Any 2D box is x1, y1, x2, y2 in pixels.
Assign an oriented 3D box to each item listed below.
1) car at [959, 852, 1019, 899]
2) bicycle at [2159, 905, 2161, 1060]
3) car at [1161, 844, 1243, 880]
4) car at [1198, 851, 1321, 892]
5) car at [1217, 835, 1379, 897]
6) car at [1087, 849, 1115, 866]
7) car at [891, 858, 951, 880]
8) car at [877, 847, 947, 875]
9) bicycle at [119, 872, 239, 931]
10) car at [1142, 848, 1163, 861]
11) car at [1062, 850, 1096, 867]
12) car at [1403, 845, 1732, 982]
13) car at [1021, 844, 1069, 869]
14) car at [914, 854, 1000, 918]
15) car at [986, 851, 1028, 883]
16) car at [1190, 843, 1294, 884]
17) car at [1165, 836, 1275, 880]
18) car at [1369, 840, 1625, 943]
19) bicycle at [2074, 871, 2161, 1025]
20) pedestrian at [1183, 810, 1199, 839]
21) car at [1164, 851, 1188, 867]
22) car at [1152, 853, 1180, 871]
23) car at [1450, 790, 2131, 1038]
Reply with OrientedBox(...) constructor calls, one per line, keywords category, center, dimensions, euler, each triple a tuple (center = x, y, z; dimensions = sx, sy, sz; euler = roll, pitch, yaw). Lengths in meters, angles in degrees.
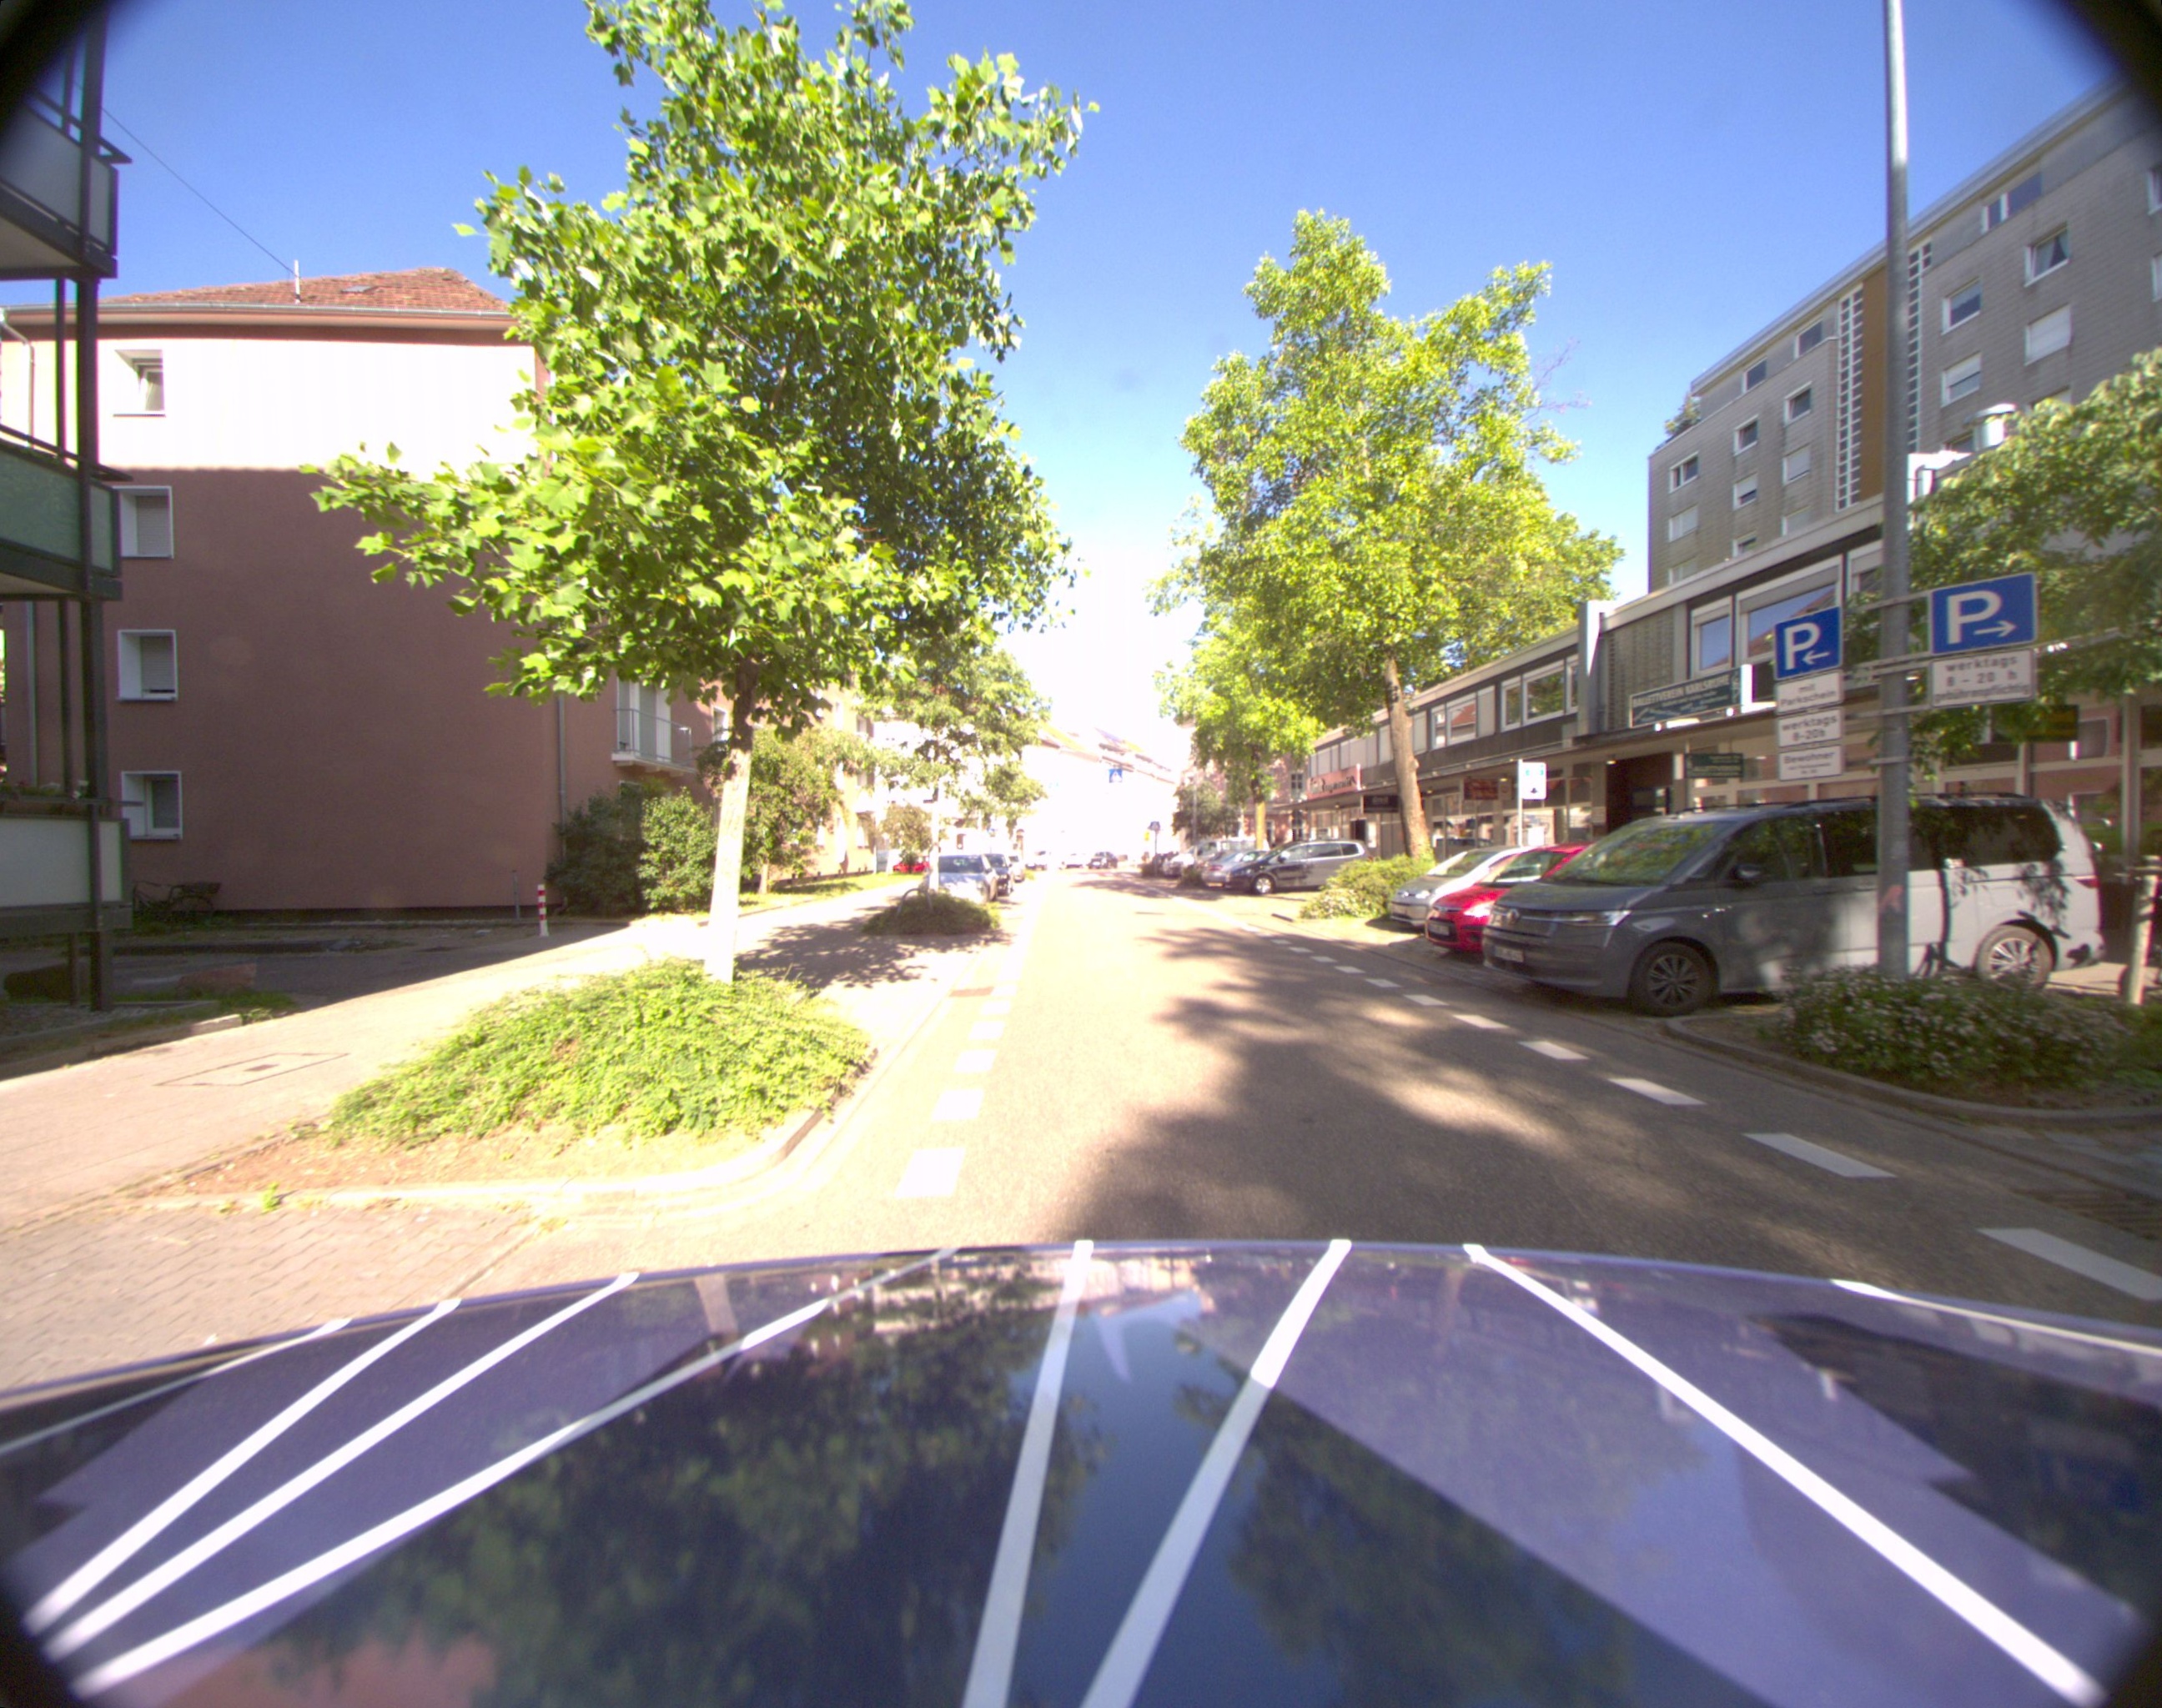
OrientedBox(category="car", center=(-3.150, 0.683, 26.748), dimensions=(1.662, 1.473, 4.310), euler=(-1, 1, -1))
OrientedBox(category="bicycle", center=(8.175, 0.848, 4.887), dimensions=(1.868, 1.033, 0.614), euler=(-1, 1, -7))
OrientedBox(category="car", center=(6.331, 0.386, 40.097), dimensions=(3.998, 1.781, 1.757), euler=(-1, 1, -3))
OrientedBox(category="car", center=(6.442, 0.611, 27.686), dimensions=(3.998, 1.390, 1.759), euler=(-1, 1, -4))
OrientedBox(category="car", center=(7.117, 0.366, 25.184), dimensions=(4.782, 1.767, 1.873), euler=(-2, 1, -4))
OrientedBox(category="car", center=(1.768, 0.305, 66.074), dimensions=(1.609, 1.445, 3.299), euler=(1, 1, 18))
OrientedBox(category="car", center=(-10.709, 0.996, 50.945), dimensions=(3.648, 1.394, 1.567), euler=(-1, 1, -2))
OrientedBox(category="car", center=(-12.441, 0.494, 56.220), dimensions=(4.757, 2.002, 1.999), euler=(-1, 1, -6))
OrientedBox(category="bicycle", center=(-17.566, 0.916, 14.822), dimensions=(1.540, 1.092, 0.594), euler=(0, 1, -3))
OrientedBox(category="car", center=(8.471, 0.019, 89.498), dimensions=(1.632, 1.413, 3.299), euler=(0, 1, 21))
OrientedBox(category="car", center=(-0.152, 0.365, 71.105), dimensions=(2.131, 1.487, 3.950), euler=(-1, 1, 17))
OrientedBox(category="car", center=(6.573, 0.734, 10.447), dimensions=(3.569, 1.545, 1.660), euler=(-2, 1, -9))
OrientedBox(category="car", center=(-2.935, 0.154, 62.636), dimensions=(1.909, 1.924, 4.816), euler=(-1, 1, 24))
OrientedBox(category="car", center=(-3.211, 0.776, 20.382), dimensions=(1.720, 1.445, 3.998), euler=(0, 1, -1))
OrientedBox(category="car", center=(-3.557, 0.610, 37.182), dimensions=(1.736, 1.420, 3.999), euler=(-1, 1, -1))
OrientedBox(category="car", center=(6.902, 0.394, 32.871), dimensions=(3.998, 1.413, 1.736), euler=(-4, 1, -4))
OrientedBox(category="car", center=(6.823, 0.192, 37.535), dimensions=(4.996, 1.958, 1.909), euler=(-2, 1, -4))
OrientedBox(category="car", center=(7.240, 0.615, 13.460), dimensions=(3.596, 1.552, 1.672), euler=(-2, 1, -1))
OrientedBox(category="bicycle", center=(9.433, 0.717, 5.905), dimensions=(2.241, 1.161, 0.801), euler=(-1, 1, 4))
OrientedBox(category="pedestrian", center=(6.413, -1.698, 44.291), dimensions=(0.727, 1.630, 0.807), euler=(-1, 1, -2))
OrientedBox(category="car", center=(9.871, 0.489, 78.623), dimensions=(1.505, 1.652, 4.006), euler=(0, 1, 22))
OrientedBox(category="car", center=(8.285, 0.793, 73.996), dimensions=(1.670, 1.628, 4.054), euler=(-1, 1, 22))
OrientedBox(category="car", center=(6.637, 0.503, 7.507), dimensions=(5.044, 1.927, 1.872), euler=(-2, 1, -2))
